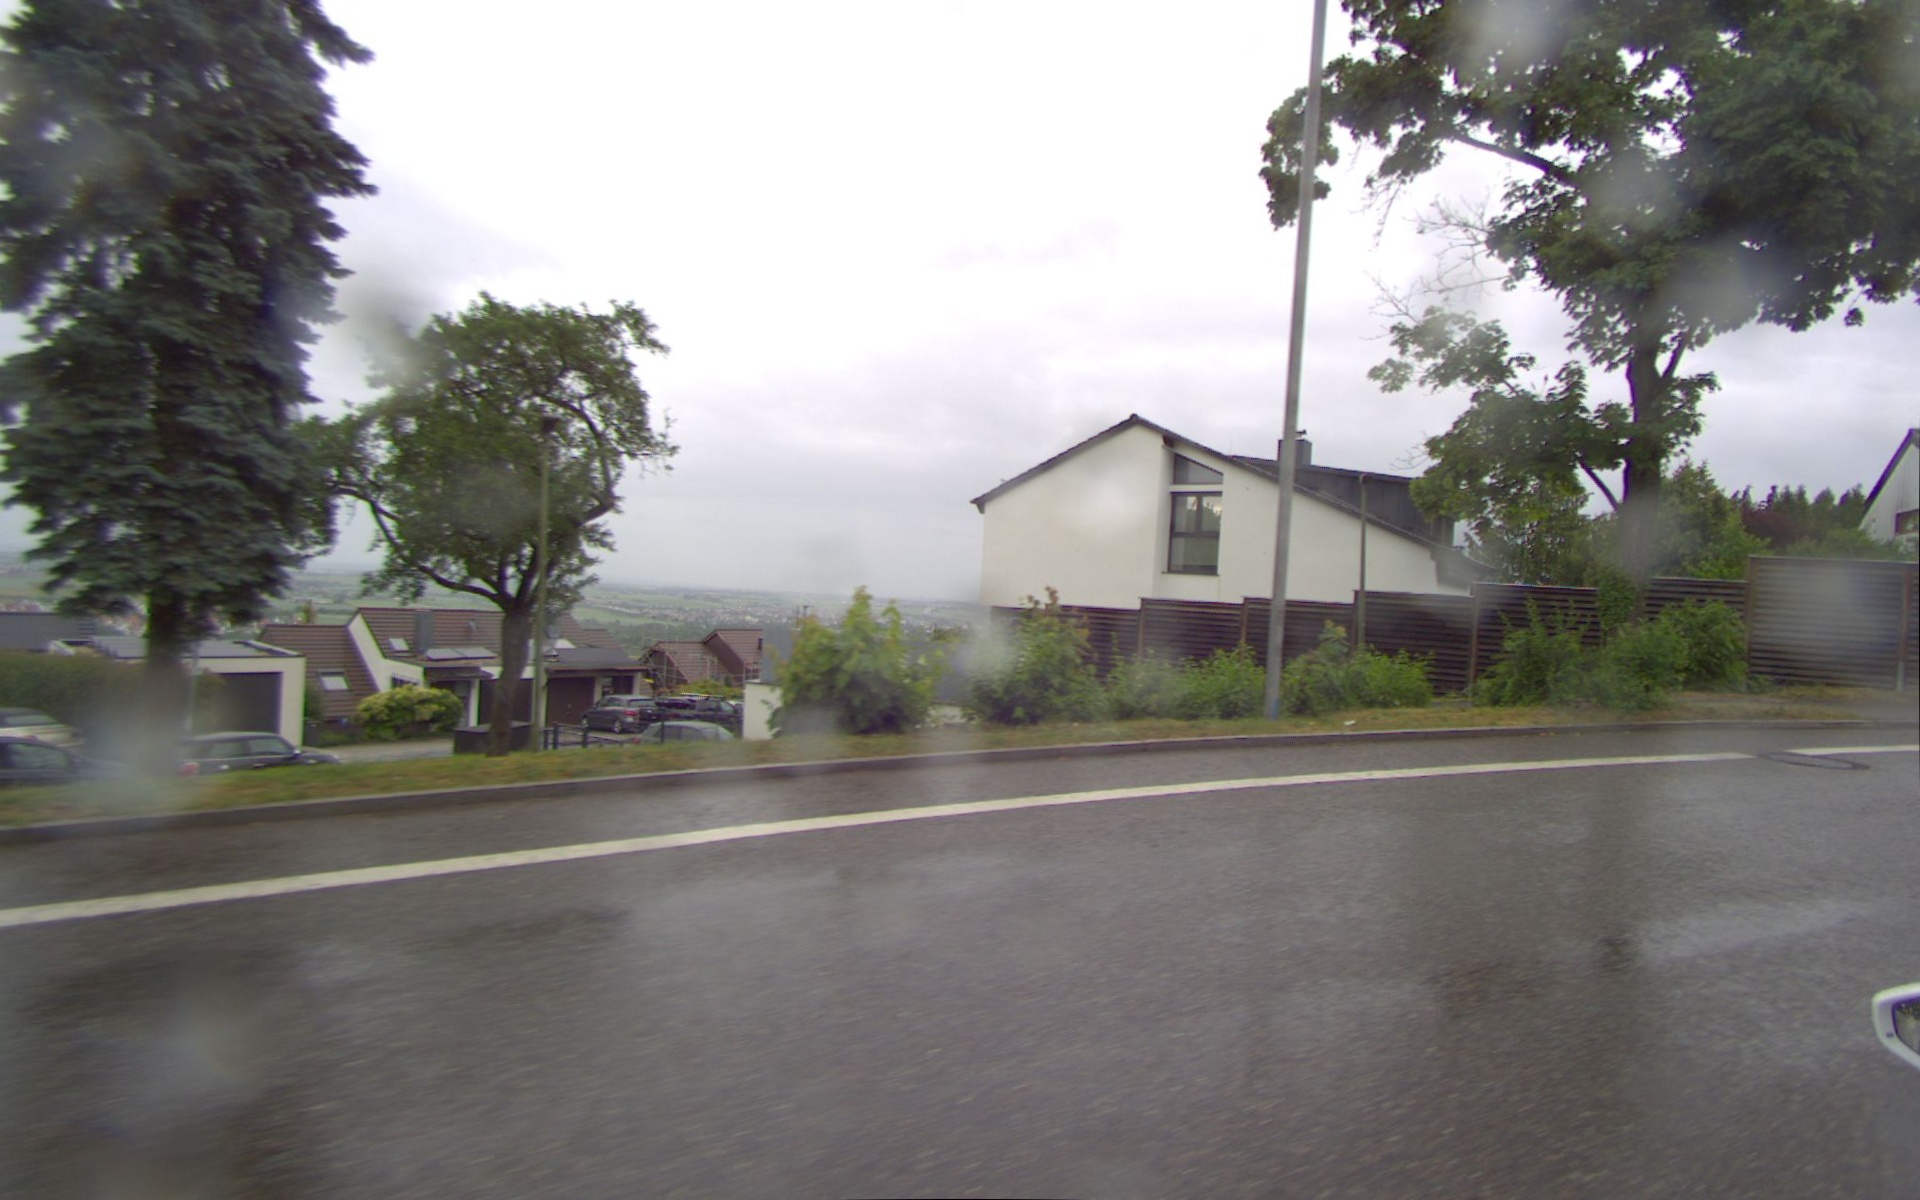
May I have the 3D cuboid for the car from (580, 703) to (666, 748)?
[{"bbox_3d":[-14.448,5.383,43.013,3.947,1.659,1.793,-8,-5,43],"label":"car"}]

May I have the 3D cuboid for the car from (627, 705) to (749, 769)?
[{"bbox_3d":[-9.838,4.919,36.615,1.965,2.039,3.992,-2,-5,32],"label":"car"}]

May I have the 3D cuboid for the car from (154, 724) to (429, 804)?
[{"bbox_3d":[-13.668,3.315,20.892,2.121,1.368,4.282,-1,-6,19],"label":"car"}]

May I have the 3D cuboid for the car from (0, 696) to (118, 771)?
[{"bbox_3d":[-22.097,3.092,23.661,3.923,1.375,1.883,-1,0,23],"label":"car"}]

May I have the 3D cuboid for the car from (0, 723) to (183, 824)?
[{"bbox_3d":[-15.574,2.829,16.518,1.847,1.434,4.002,-1,-5,19],"label":"car"}]
